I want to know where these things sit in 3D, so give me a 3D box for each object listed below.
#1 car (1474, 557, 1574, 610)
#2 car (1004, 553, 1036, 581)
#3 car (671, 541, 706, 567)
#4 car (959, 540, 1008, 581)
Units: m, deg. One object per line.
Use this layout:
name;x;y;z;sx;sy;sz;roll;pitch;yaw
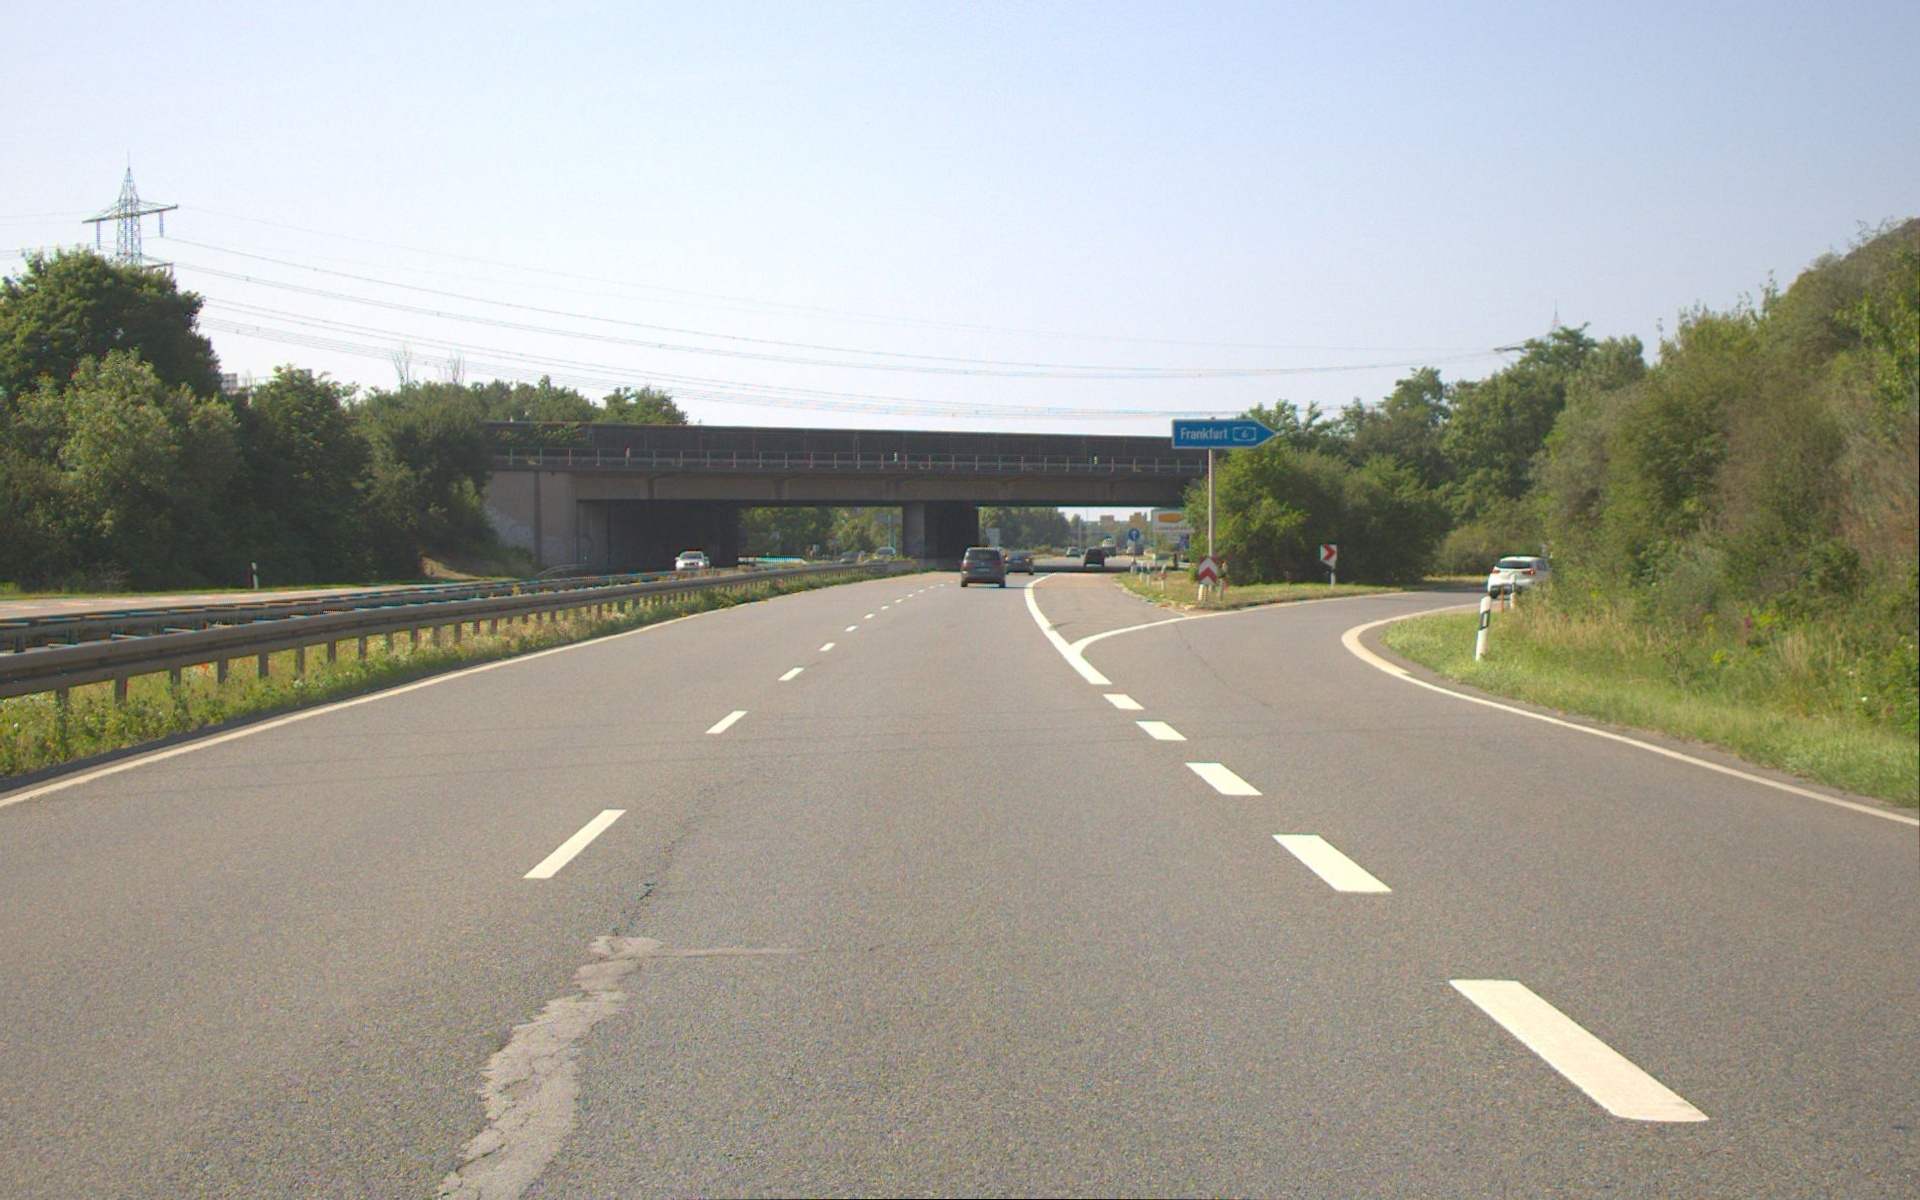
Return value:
car;19.098;-0.550;116.284;1.800;1.659;3.992;4;1;33
car;3.641;-2.001;208.280;1.850;1.639;4.000;1;1;2
car;-16.026;-2.725;203.031;1.675;1.405;3.763;2;1;1
car;0.978;-1.610;140.012;1.850;1.639;4.000;1;1;2
